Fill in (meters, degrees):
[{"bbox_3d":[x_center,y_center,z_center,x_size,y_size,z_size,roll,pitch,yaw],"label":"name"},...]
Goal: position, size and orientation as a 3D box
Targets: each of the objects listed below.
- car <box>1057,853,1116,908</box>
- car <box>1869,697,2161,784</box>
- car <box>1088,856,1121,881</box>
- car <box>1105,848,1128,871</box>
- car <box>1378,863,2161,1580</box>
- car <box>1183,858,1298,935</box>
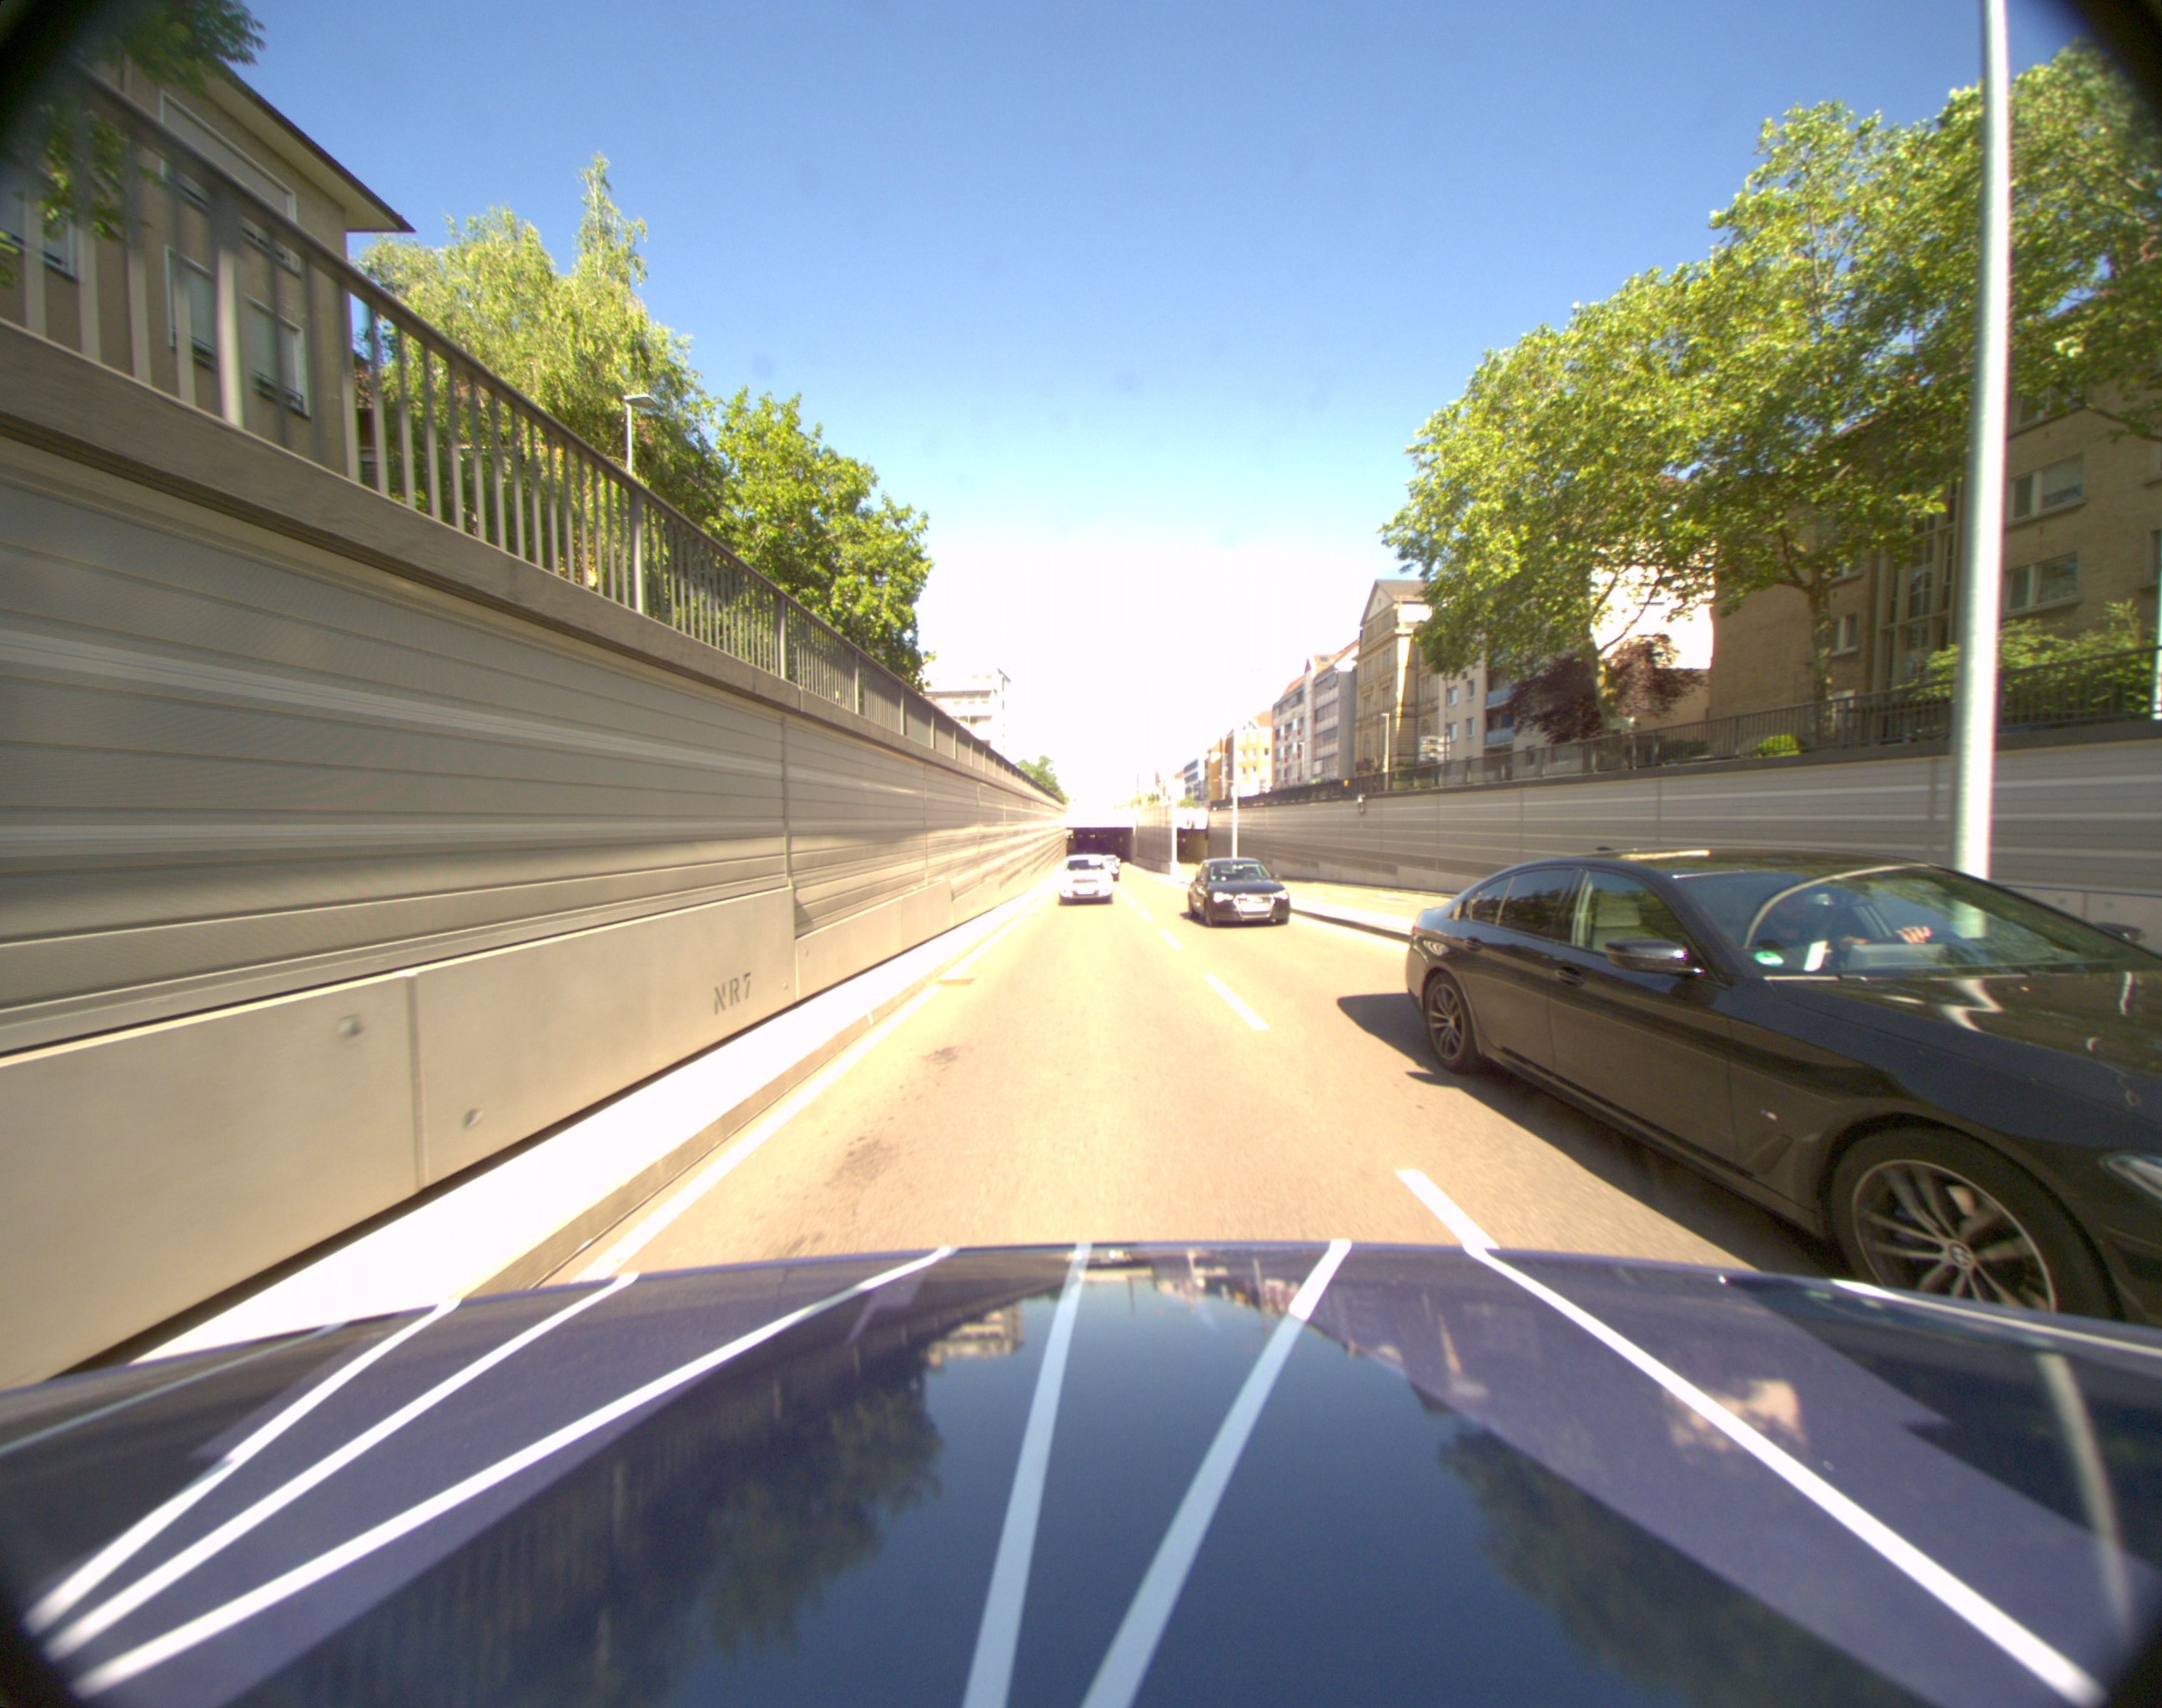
[{"bbox_3d":[0.221,0.847,26.584,1.855,1.658,3.969,-2,1,1],"label":"car"},{"bbox_3d":[22.523,-2.657,18.599,1.926,1.575,4.302,-2,2,-1],"label":"car"},{"bbox_3d":[1.467,0.922,49.023,1.998,1.407,3.999,-2,1,1],"label":"car"},{"bbox_3d":[3.501,0.530,76.206,1.999,2.003,3.998,-2,2,-1],"label":"car"},{"bbox_3d":[3.252,0.832,3.469,1.813,1.431,5.002,-2,0,0],"label":"car"},{"bbox_3d":[3.372,0.846,16.753,1.700,1.410,3.888,-2,0,0],"label":"car"}]
